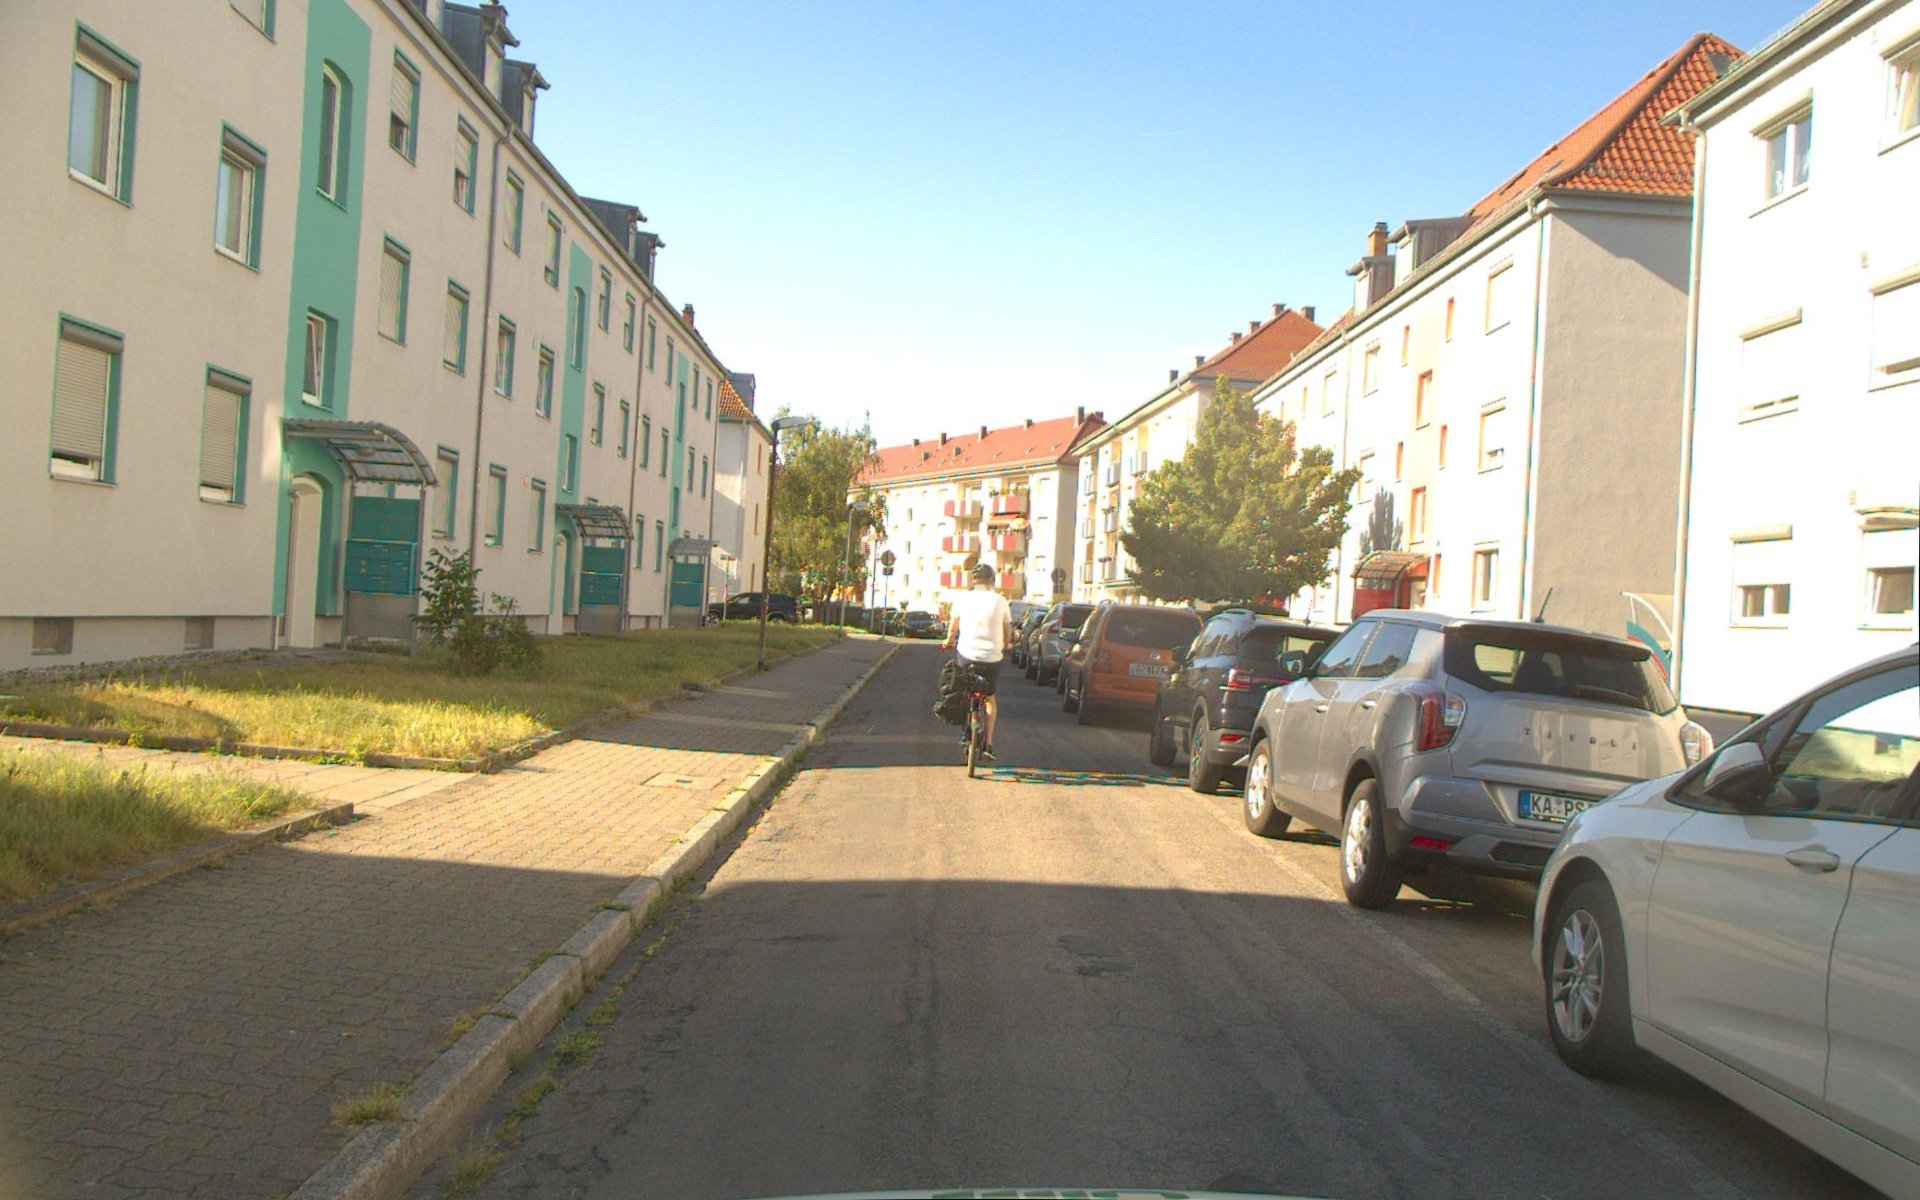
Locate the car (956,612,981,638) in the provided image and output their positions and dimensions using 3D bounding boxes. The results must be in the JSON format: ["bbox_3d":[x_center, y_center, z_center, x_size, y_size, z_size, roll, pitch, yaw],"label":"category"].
[{"bbox_3d":[0.555,1.613,106.644,1.354,1.523,3.075,4,0,-3],"label":"car"}]

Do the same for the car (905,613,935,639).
[{"bbox_3d":[-2.218,1.412,90.213,1.441,1.359,3.137,0,-1,-5],"label":"car"}]

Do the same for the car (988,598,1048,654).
[{"bbox_3d":[1.979,0.877,57.237,1.641,1.769,3.940,4,0,-3],"label":"car"}]

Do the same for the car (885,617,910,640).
[{"bbox_3d":[-3.858,1.751,101.214,1.440,1.359,3.138,0,0,-4],"label":"car"}]

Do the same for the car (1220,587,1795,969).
[{"bbox_3d":[2.951,0.852,10.052,1.716,1.645,4.449,6,0,-3],"label":"car"}]

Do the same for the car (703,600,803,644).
[{"bbox_3d":[-8.904,0.953,71.354,4.149,1.667,1.581,3,-1,-5],"label":"car"}]

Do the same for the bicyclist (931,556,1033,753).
[{"bbox_3d":[0.182,0.476,14.757,0.792,1.672,0.898,2,-1,-3],"label":"bicyclist"}]

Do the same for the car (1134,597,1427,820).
[{"bbox_3d":[2.814,0.888,15.497,1.678,1.623,4.396,6,0,-1],"label":"car"}]

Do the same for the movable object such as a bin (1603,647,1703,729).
[{"bbox_3d":[13.097,1.646,31.310,1.332,1.440,1.187,3,-1,-1],"label":"movable object such as a bin"}]

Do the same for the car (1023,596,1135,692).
[{"bbox_3d":[2.350,0.850,33.740,1.667,1.699,4.377,5,0,-2],"label":"car"}]

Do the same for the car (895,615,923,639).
[{"bbox_3d":[-2.945,1.520,94.570,1.440,1.359,3.137,0,0,-5],"label":"car"}]

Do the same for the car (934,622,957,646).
[{"bbox_3d":[-1.052,2.431,119.348,1.440,1.542,3.075,4,0,-3],"label":"car"}]

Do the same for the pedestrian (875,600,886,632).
[{"bbox_3d":[-4.146,0.831,86.363,0.425,1.602,0.543,3,-1,-1],"label":"pedestrian"}]

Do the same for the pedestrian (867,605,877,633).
[{"bbox_3d":[-4.595,0.974,86.283,0.425,1.452,0.543,3,-1,-1],"label":"pedestrian"}]

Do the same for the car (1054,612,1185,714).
[{"bbox_3d":[2.688,1.032,28.613,1.586,1.485,3.838,6,-1,-3],"label":"car"}]

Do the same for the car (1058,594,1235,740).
[{"bbox_3d":[2.501,0.872,23.118,1.824,1.697,4.126,5,-1,-1],"label":"car"}]

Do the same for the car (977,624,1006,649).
[{"bbox_3d":[1.909,2.205,99.831,1.440,1.358,3.139,4,0,-3],"label":"car"}]

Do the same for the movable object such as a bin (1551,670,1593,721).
[{"bbox_3d":[11.609,1.811,31.378,0.512,0.902,0.633,3,-1,0],"label":"movable object such as a bin"}]

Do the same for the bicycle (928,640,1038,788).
[{"bbox_3d":[0.169,0.960,14.622,0.792,1.148,2.100,2,-1,-3],"label":"bicycle"}]

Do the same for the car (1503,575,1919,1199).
[{"bbox_3d":[3.033,0.808,4.167,1.656,1.602,4.433,5,0,-2],"label":"car"}]

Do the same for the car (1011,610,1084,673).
[{"bbox_3d":[2.233,1.039,42.990,1.527,1.436,3.932,4,0,-1],"label":"car"}]

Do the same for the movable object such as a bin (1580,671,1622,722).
[{"bbox_3d":[12.155,1.827,31.372,0.512,0.902,0.633,3,-1,0],"label":"movable object such as a bin"}]
